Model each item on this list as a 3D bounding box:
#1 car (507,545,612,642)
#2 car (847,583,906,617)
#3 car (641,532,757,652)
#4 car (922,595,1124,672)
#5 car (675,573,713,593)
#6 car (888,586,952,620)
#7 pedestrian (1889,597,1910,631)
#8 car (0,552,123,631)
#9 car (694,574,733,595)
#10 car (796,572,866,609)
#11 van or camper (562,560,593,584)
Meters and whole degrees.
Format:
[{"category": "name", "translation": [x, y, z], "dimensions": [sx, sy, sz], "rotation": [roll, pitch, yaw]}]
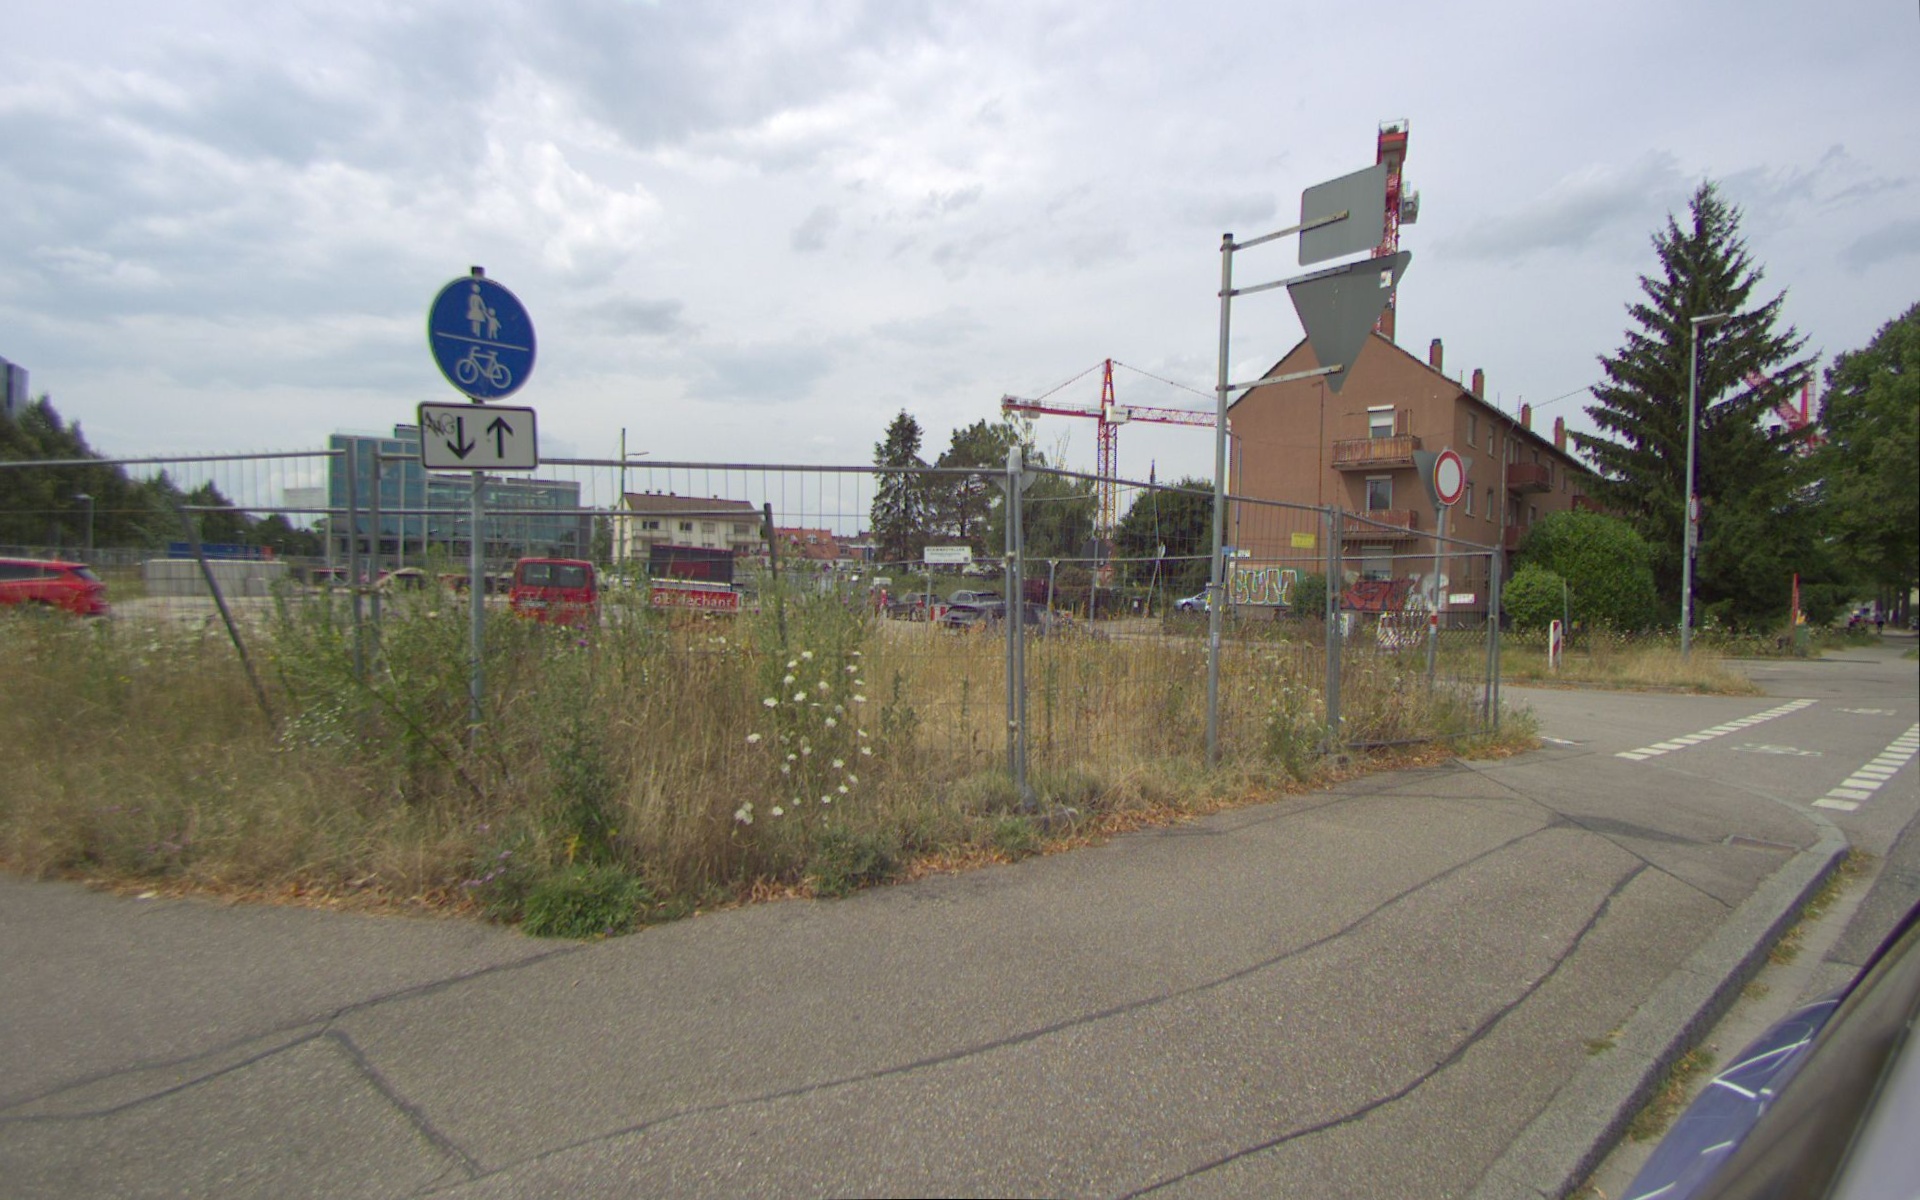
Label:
[{"category": "car", "translation": [-9.268, -0.168, 23.783], "dimensions": [1.896, 1.934, 4.999], "rotation": [4, 0, -18]}, {"category": "car", "translation": [-4.747, -0.036, 57.057], "dimensions": [1.819, 1.771, 4.020], "rotation": [1, 1, -28]}, {"category": "car", "translation": [-6.327, -0.212, 24.015], "dimensions": [2.269, 2.442, 6.557], "rotation": [1, 1, -17]}, {"category": "car", "translation": [1.416, 0.672, 21.945], "dimensions": [4.178, 1.492, 1.767], "rotation": [1, 1, -36]}, {"category": "car", "translation": [-21.729, -1.436, 82.613], "dimensions": [1.821, 1.554, 4.017], "rotation": [1, 1, -32]}, {"category": "car", "translation": [-2.122, 0.151, 52.671], "dimensions": [1.765, 1.622, 4.020], "rotation": [1, 1, -27]}, {"category": "pedestrian", "translation": [56.952, 0.836, 61.343], "dimensions": [0.852, 2.039, 0.722], "rotation": [2, 0, 38]}, {"category": "car", "translation": [-19.797, -0.193, 20.344], "dimensions": [4.443, 1.552, 1.789], "rotation": [1, 1, -36]}, {"category": "car", "translation": [-18.537, -1.173, 75.948], "dimensions": [1.820, 1.525, 4.019], "rotation": [1, 1, -29]}, {"category": "car", "translation": [-7.909, -0.602, 61.779], "dimensions": [2.107, 2.163, 4.910], "rotation": [1, 1, -36]}, {"category": "van or camper", "translation": [-45.124, -3.325, 119.255], "dimensions": [2.306, 2.721, 5.248], "rotation": [1, 1, -34]}]
